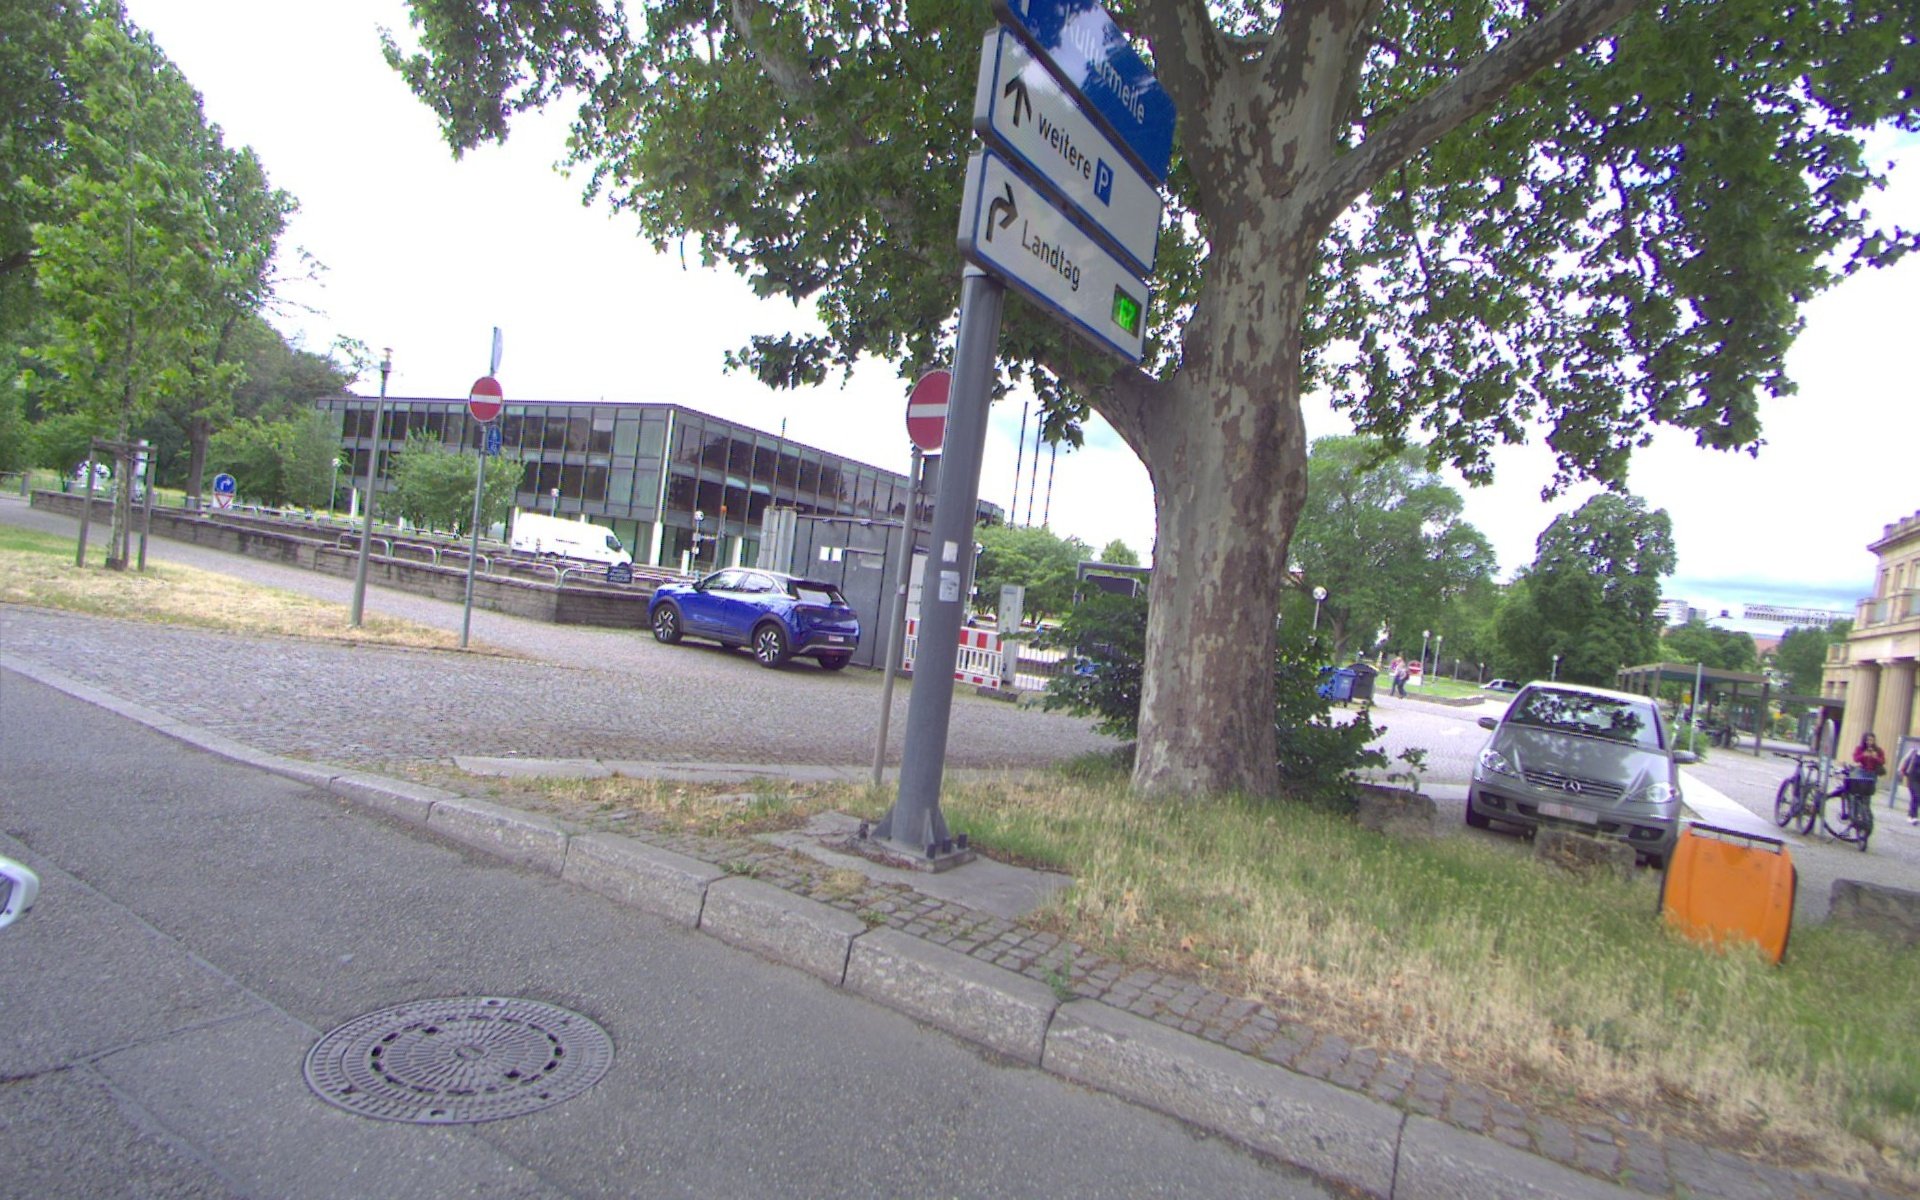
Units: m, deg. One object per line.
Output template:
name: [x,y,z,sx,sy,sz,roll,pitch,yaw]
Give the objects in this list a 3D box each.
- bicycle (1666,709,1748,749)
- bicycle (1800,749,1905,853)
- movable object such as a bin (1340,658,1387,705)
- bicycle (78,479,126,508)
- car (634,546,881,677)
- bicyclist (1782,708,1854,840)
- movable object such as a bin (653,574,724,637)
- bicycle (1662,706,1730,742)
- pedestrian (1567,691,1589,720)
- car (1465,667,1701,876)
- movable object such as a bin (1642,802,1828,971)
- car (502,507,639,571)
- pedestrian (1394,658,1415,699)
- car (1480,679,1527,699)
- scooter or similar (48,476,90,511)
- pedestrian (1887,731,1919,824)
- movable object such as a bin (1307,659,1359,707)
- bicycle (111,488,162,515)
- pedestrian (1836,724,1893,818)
bicycle: [35.399,6.100,47.710,2.848,1.442,0.961,7,-1,27]
bicycle: [12.391,2.755,14.024,0.435,1.145,1.754,8,0,23]
movable object such as a bin: [14.418,2.910,35.937,1.134,1.515,1.410,8,1,33]
bicycle: [-40.480,-5.036,47.470,2.297,1.076,0.956,7,-2,31]
car: [-3.549,0.179,17.400,3.961,1.571,1.762,10,2,34]
bicyclist: [12.185,2.452,14.300,0.466,1.770,0.437,8,1,23]
movable object such as a bin: [-5.434,0.116,20.175,0.757,1.078,1.009,11,2,29]
bicycle: [36.403,6.121,49.818,2.536,1.360,0.726,7,-1,31]
pedestrian: [41.908,7.156,68.250,0.929,1.826,0.546,8,-1,4]
car: [6.595,1.664,10.806,1.651,1.587,3.842,8,0,31]
movable object such as a bin: [4.476,1.594,5.815,0.718,0.659,1.299,6,-3,39]
car: [-19.739,-3.052,51.331,2.362,2.288,6.114,8,0,33]
pedestrian: [20.754,3.645,46.942,0.537,1.826,0.500,8,-1,4]
car: [68.184,11.135,126.280,4.834,1.758,2.075,7,-2,34]
scooter or similar: [-36.777,-4.399,41.521,2.189,1.259,0.636,7,-1,34]
pedestrian: [19.083,3.544,19.958,0.692,1.744,0.680,8,1,30]
movable object such as a bin: [11.886,2.637,32.059,1.134,1.320,1.410,8,1,33]
bicycle: [-39.810,-4.762,48.617,2.740,0.986,0.956,7,-2,31]
pedestrian: [17.676,3.324,19.660,0.559,1.716,0.430,8,1,30]
